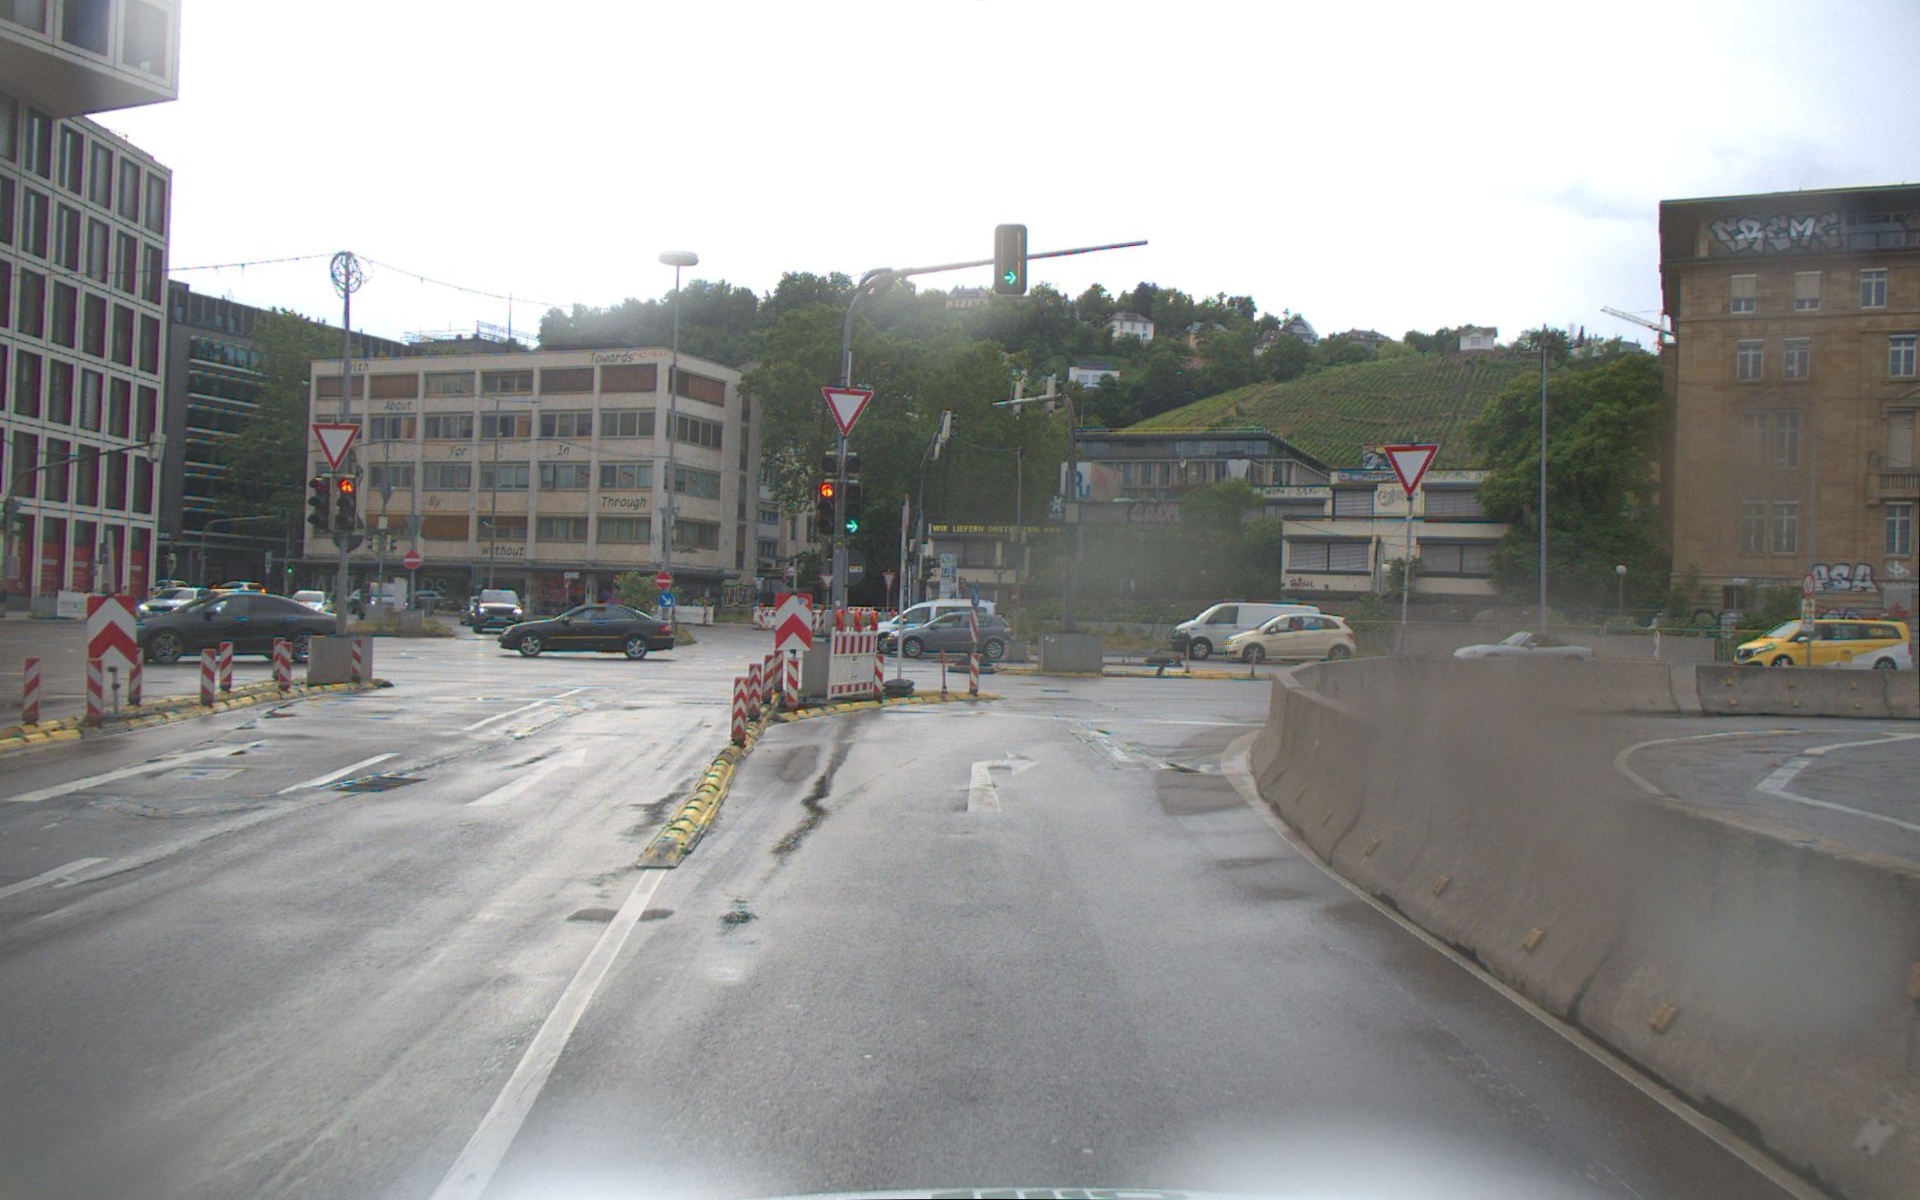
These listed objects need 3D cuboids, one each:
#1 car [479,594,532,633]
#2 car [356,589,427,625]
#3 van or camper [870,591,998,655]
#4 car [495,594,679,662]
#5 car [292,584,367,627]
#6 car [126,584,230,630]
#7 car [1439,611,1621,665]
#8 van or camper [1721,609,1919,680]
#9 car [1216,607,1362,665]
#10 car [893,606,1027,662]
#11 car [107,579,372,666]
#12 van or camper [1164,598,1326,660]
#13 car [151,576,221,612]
[{"bbox_3d":[-18.865,0.554,68.759,1.798,1.512,3.988,2,0,-12],"label":"car"},{"bbox_3d":[-36.550,0.448,106.311,3.908,2.049,1.998,3,-1,25],"label":"car"},{"bbox_3d":[-0.895,0.781,55.934,4.159,2.013,1.849,2,0,-5],"label":"van or camper"},{"bbox_3d":[-9.714,0.714,43.427,4.565,1.626,2.013,2,0,-11],"label":"car"},{"bbox_3d":[-28.835,0.256,75.777,1.762,1.847,4.001,2,0,2],"label":"car"},{"bbox_3d":[-31.808,0.297,67.465,2.178,1.784,4.808,1,-1,-4],"label":"car"},{"bbox_3d":[15.637,1.038,45.514,4.425,1.332,1.642,2,0,-3],"label":"car"},{"bbox_3d":[27.922,1.421,53.625,5.476,2.090,2.246,2,0,-2],"label":"van or camper"},{"bbox_3d":[10.540,1.149,53.163,4.276,1.703,1.848,2,0,0],"label":"car"},{"bbox_3d":[-0.037,1.073,52.658,4.086,1.626,1.849,2,0,-5],"label":"car"},{"bbox_3d":[-14.659,0.456,33.898,1.976,1.626,4.650,1,0,33],"label":"car"},{"bbox_3d":[9.654,0.981,56.236,5.094,1.927,1.886,2,0,-5],"label":"van or camper"},{"bbox_3d":[-42.636,-0.327,91.065,3.921,1.847,1.798,2,0,37],"label":"car"}]
